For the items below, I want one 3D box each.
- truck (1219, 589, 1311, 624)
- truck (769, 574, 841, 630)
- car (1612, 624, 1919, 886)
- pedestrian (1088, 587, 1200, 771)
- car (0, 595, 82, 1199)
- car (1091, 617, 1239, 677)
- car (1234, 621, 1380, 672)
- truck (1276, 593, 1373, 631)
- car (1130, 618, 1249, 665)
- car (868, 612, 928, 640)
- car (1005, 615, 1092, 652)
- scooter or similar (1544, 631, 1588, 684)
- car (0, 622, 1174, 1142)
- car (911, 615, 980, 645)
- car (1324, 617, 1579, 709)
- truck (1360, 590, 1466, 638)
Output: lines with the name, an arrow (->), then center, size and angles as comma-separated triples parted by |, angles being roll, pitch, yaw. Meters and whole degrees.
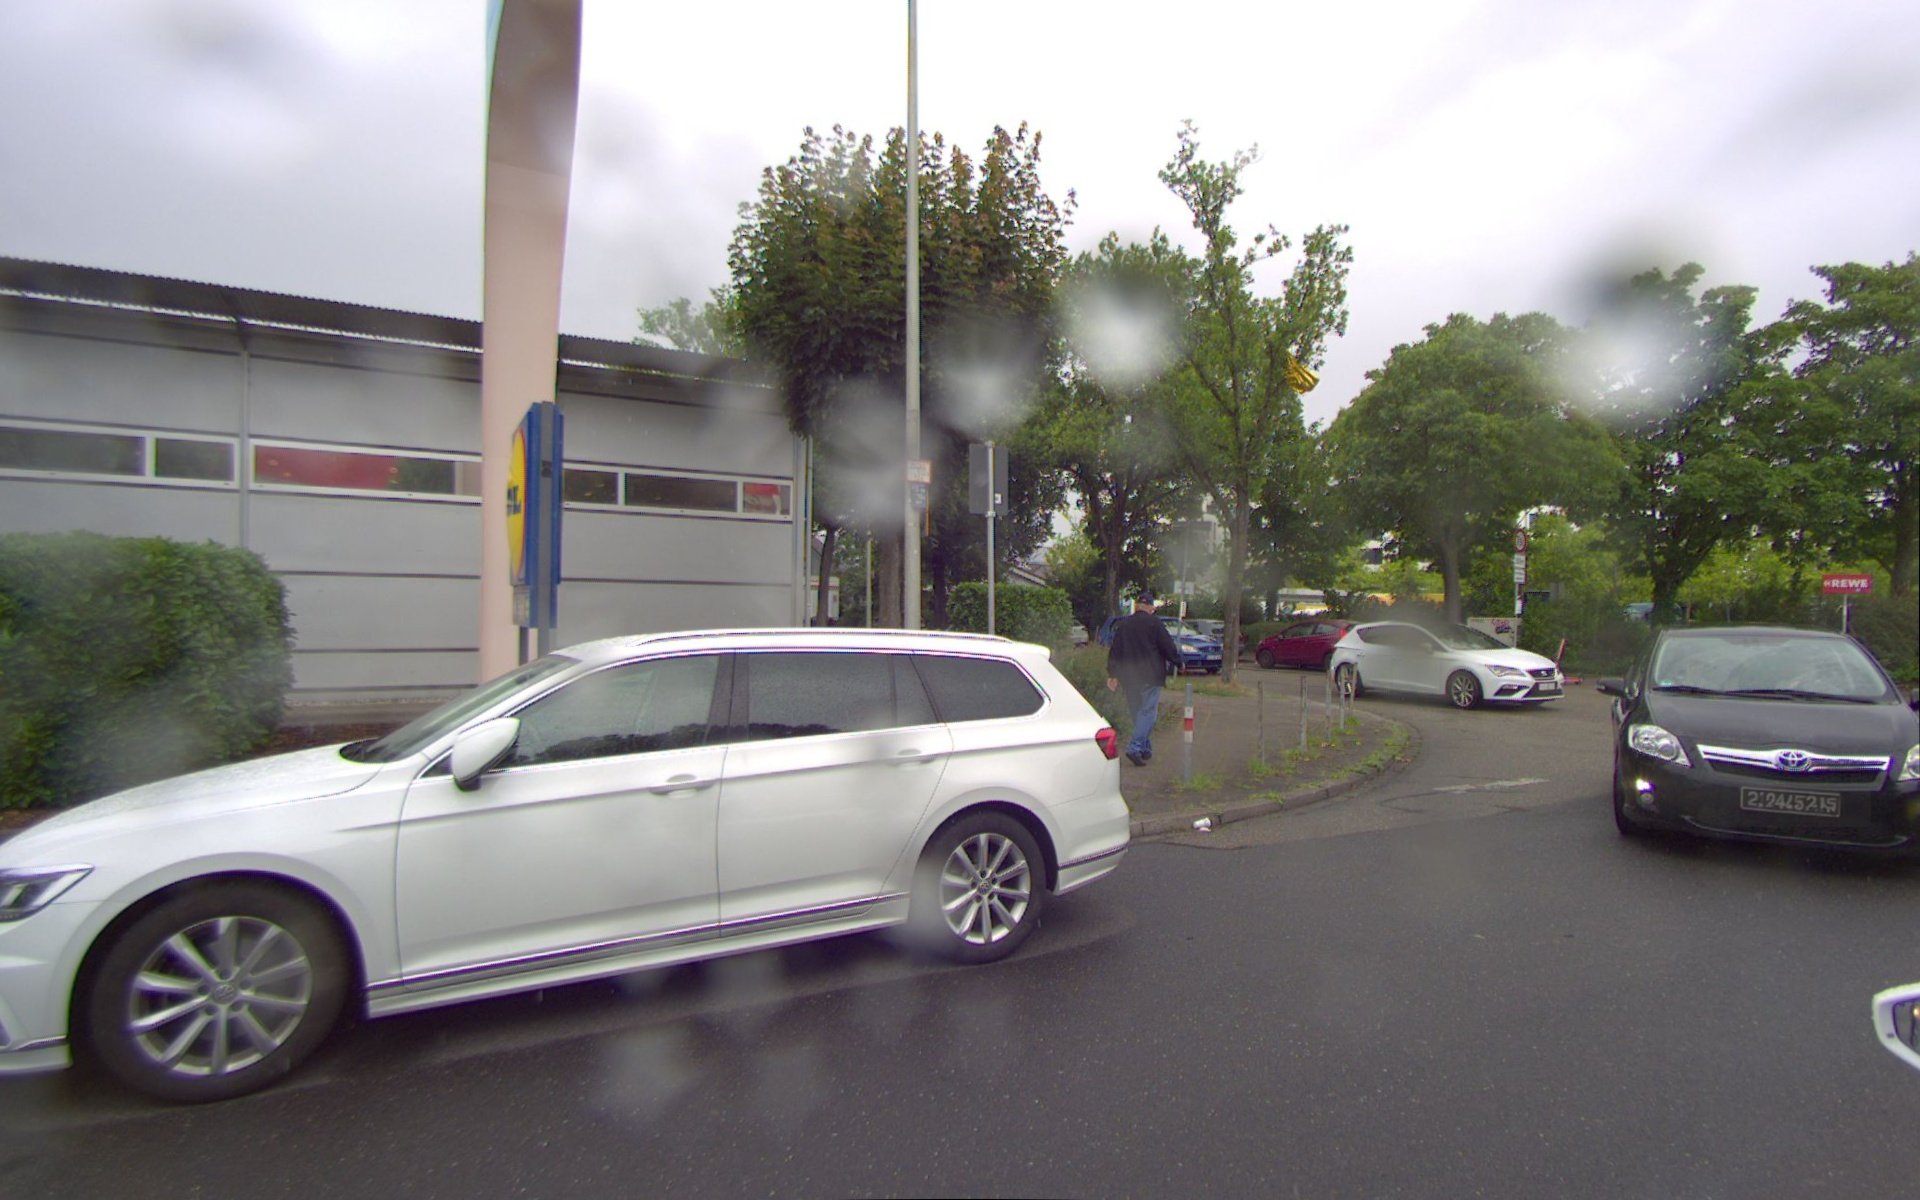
truck -> 19.112, 0.444, 62.859 | 6.063, 2.087, 1.984 | 1, -1, -31
truck -> -10.392, 0.156, 66.661 | 2.571, 3.515, 6.763 | 1, -1, -29
car -> 6.006, 0.922, 7.647 | 1.707, 1.460, 3.990 | -1, -1, 33
pedestrian -> 1.802, 0.738, 9.837 | 0.776, 1.696, 0.750 | 1, -1, -40
car -> -2.919, 0.682, 0.571 | 3.369, 1.457, 1.603 | 1, -2, -32
car -> 5.303, 1.181, 26.455 | 1.715, 1.460, 3.971 | 1, -1, -28
car -> 10.065, 1.321, 29.441 | 1.715, 1.381, 3.971 | 1, -1, -28
truck -> 21.486, 0.716, 59.093 | 6.063, 2.122, 1.984 | 1, -1, -31
car -> 7.605, 1.339, 33.668 | 1.715, 1.460, 3.971 | 1, -1, -28
car -> -3.359, 1.384, 53.795 | 1.715, 1.401, 4.067 | 1, -1, -28
car -> 3.573, 1.341, 41.229 | 1.715, 1.460, 3.971 | 1, -1, -28
scooter or similar -> 13.885, 1.312, 23.001 | 1.044, 1.191, 0.283 | 1, -1, -21
car -> -1.338, 0.852, 4.604 | 4.436, 1.453, 1.829 | 1, -2, -28
car -> -0.742, 1.431, 48.974 | 1.715, 1.401, 4.067 | 1, -1, -28
car -> 8.630, 1.043, 18.023 | 1.712, 1.460, 3.977 | 0, -1, -24
truck -> 25.652, 0.828, 56.813 | 6.313, 2.636, 1.986 | 1, -1, -27
